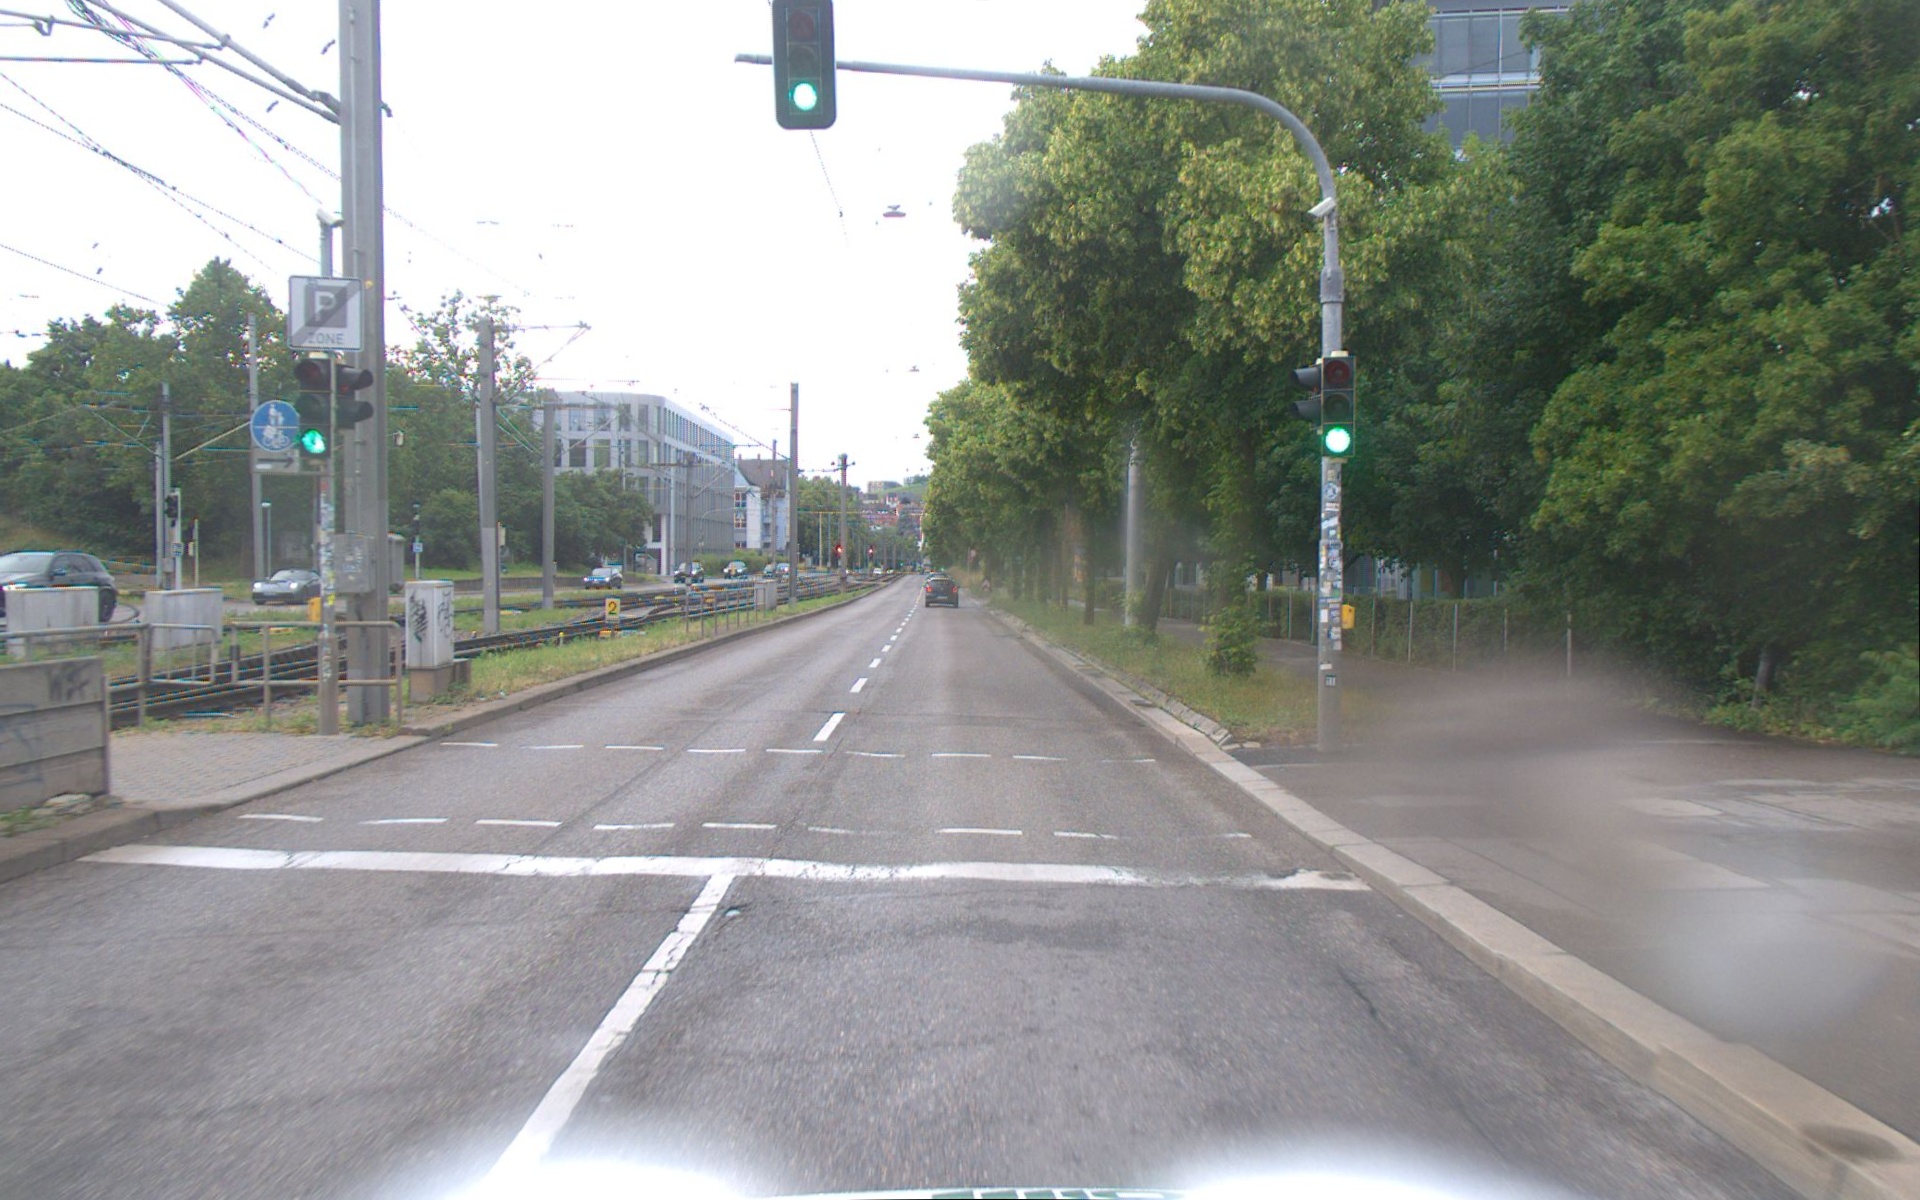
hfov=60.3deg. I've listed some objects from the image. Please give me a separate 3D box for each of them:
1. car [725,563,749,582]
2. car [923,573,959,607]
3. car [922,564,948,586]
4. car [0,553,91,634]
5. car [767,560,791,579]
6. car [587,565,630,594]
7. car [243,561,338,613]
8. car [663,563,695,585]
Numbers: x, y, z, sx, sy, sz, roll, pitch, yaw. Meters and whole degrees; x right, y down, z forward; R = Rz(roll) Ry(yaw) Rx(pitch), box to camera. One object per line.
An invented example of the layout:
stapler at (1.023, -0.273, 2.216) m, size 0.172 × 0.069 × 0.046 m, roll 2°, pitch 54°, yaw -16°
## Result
car at (-22.286, -2.717, 165.208) m, size 1.618 × 1.659 × 3.612 m, roll 3°, pitch 4°, yaw 4°
car at (-0.973, -0.517, 81.858) m, size 1.692 × 1.567 × 3.999 m, roll 1°, pitch 1°, yaw -1°
car at (-1.707, -1.692, 111.460) m, size 1.692 × 1.449 × 3.999 m, roll 1°, pitch 1°, yaw -1°
car at (-22.575, -0.197, 39.573) m, size 1.632 × 1.659 × 3.306 m, roll 3°, pitch 4°, yaw 4°
car at (-18.795, -3.195, 171.737) m, size 1.811 × 1.659 × 3.612 m, roll 3°, pitch 4°, yaw 4°
car at (-23.435, -1.365, 110.385) m, size 1.811 × 1.659 × 3.612 m, roll 3°, pitch 4°, yaw 4°
car at (-25.408, -0.520, 62.915) m, size 1.811 × 1.659 × 3.815 m, roll 3°, pitch 4°, yaw 4°
car at (-23.614, -2.203, 138.977) m, size 1.811 × 1.659 × 3.612 m, roll 3°, pitch 4°, yaw 4°
